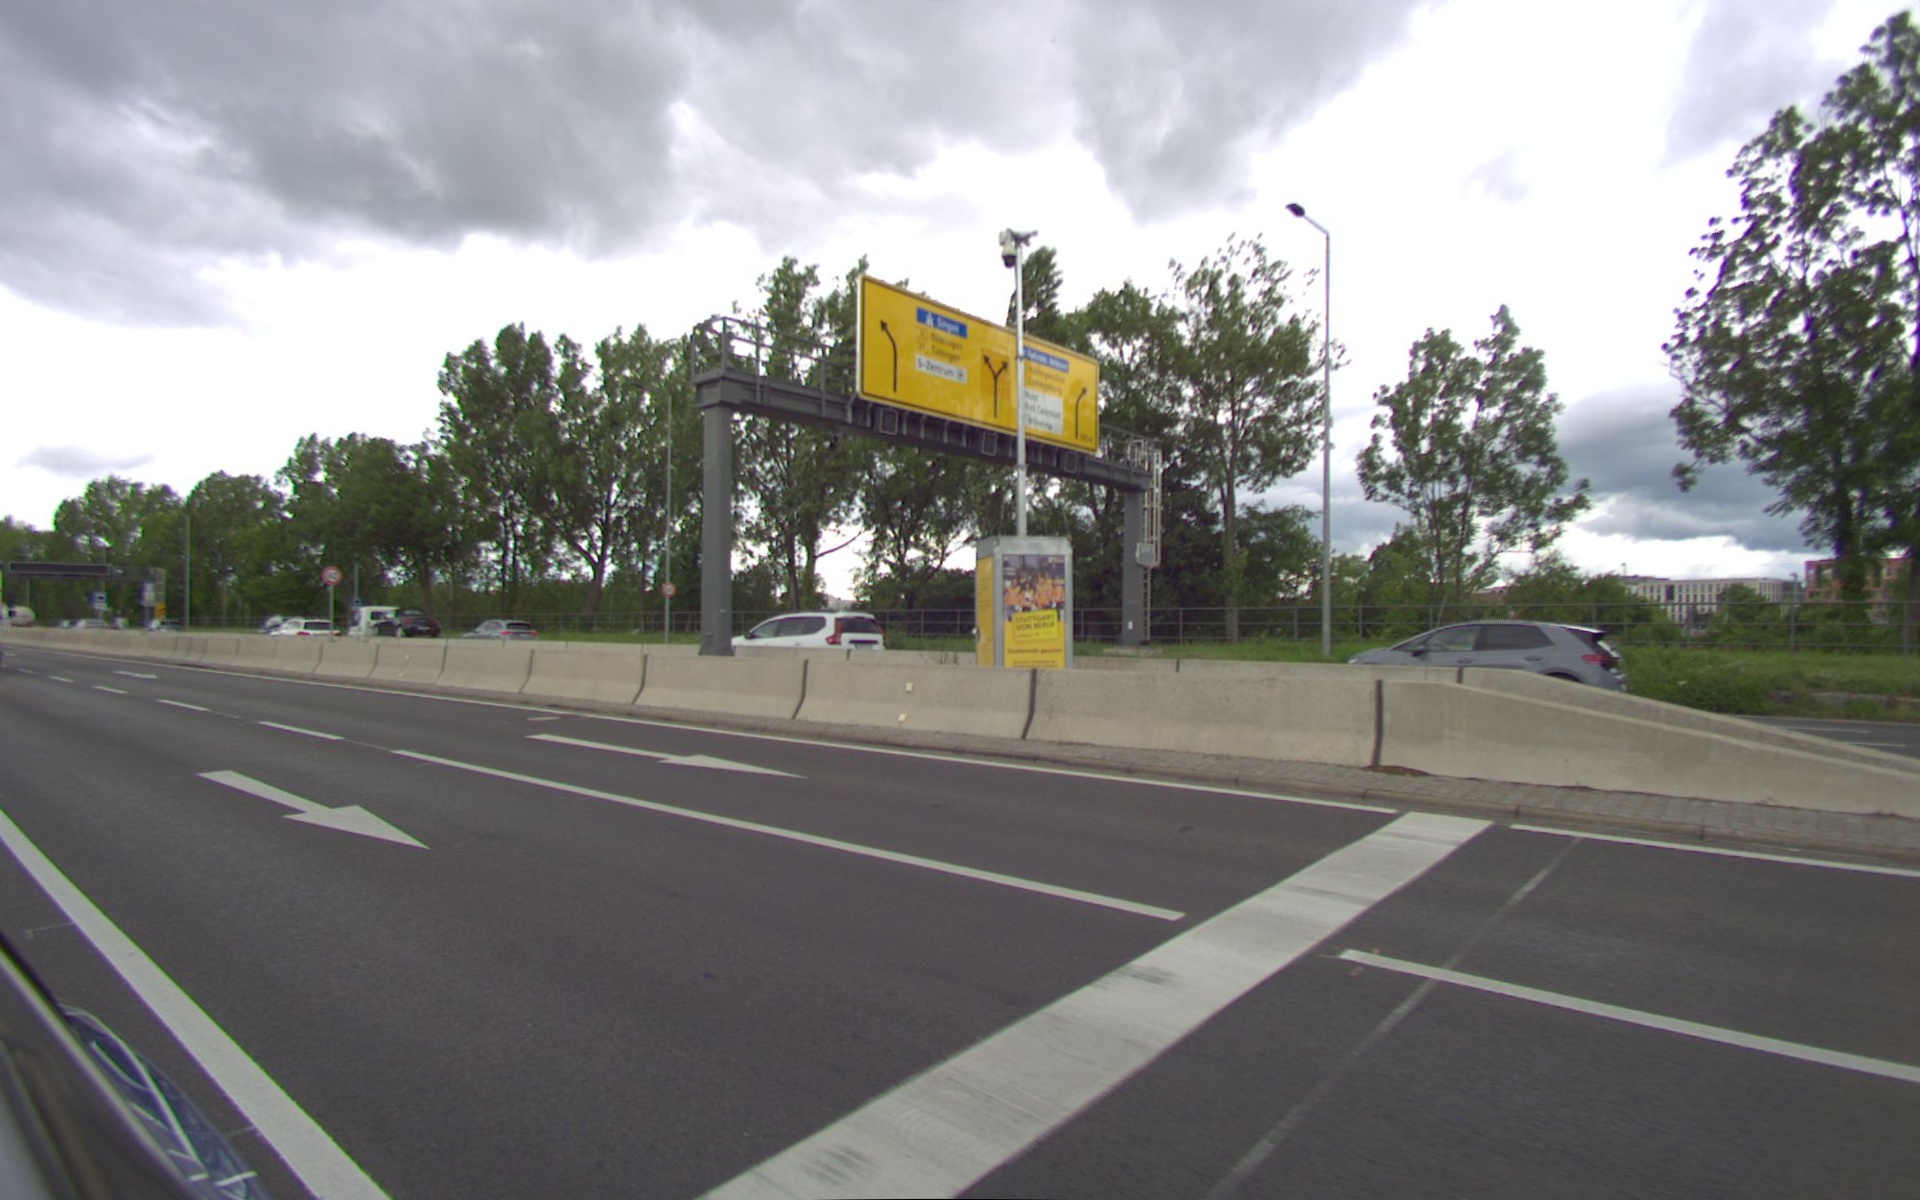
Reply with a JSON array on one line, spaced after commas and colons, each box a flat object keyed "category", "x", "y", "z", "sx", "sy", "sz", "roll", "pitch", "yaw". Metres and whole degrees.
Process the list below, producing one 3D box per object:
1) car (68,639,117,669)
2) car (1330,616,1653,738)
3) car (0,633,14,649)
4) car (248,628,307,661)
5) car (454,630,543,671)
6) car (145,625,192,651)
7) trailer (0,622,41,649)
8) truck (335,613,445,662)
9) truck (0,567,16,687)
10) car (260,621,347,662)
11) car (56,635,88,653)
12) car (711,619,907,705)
[{"category": "car", "x": -62.685, "y": 3.889, "z": 73.110, "sx": 4.679, "sy": 2.029, "sz": 1.973, "roll": -3, "pitch": -1, "yaw": 41}, {"category": "car", "x": 8.593, "y": 1.207, "z": 16.557, "sx": 4.285, "sy": 1.669, "sz": 1.973, "roll": -4, "pitch": -1, "yaw": 41}, {"category": "car", "x": -99.551, "y": 4.282, "z": 104.734, "sx": 4.883, "sy": 1.571, "sz": 1.973, "roll": -3, "pitch": -1, "yaw": 41}, {"category": "car", "x": -44.691, "y": 2.925, "z": 66.267, "sx": 4.934, "sy": 2.029, "sz": 1.973, "roll": -3, "pitch": -1, "yaw": 41}, {"category": "car", "x": -20.985, "y": 2.266, "z": 45.949, "sx": 4.409, "sy": 1.697, "sz": 1.973, "roll": -3, "pitch": -1, "yaw": 41}, {"category": "car", "x": -56.348, "y": 2.705, "z": 72.038, "sx": 4.123, "sy": 1.695, "sz": 1.858, "roll": -3, "pitch": -1, "yaw": 41}, {"category": "trailer", "x": -122.803, "y": 4.637, "z": 131.620, "sx": 11.654, "sy": 3.244, "sz": 3.070, "roll": -3, "pitch": -1, "yaw": 39}, {"category": "truck", "x": -25.773, "y": 1.707, "z": 45.646, "sx": 6.296, "sy": 2.029, "sz": 2.182, "roll": -3, "pitch": -1, "yaw": 40}, {"category": "truck", "x": -28.769, "y": 0.856, "z": 27.973, "sx": 8.380, "sy": 3.106, "sz": 2.906, "roll": -3, "pitch": -1, "yaw": 40}, {"category": "car", "x": -29.085, "y": 1.836, "z": 44.803, "sx": 4.692, "sy": 1.681, "sz": 1.973, "roll": -3, "pitch": -1, "yaw": 41}, {"category": "car", "x": -94.872, "y": 4.683, "z": 108.102, "sx": 4.301, "sy": 1.752, "sz": 1.973, "roll": -3, "pitch": -1, "yaw": 41}, {"category": "car", "x": -3.510, "y": 1.360, "z": 23.036, "sx": 4.409, "sy": 1.697, "sz": 1.973, "roll": -3, "pitch": -1, "yaw": 41}]
